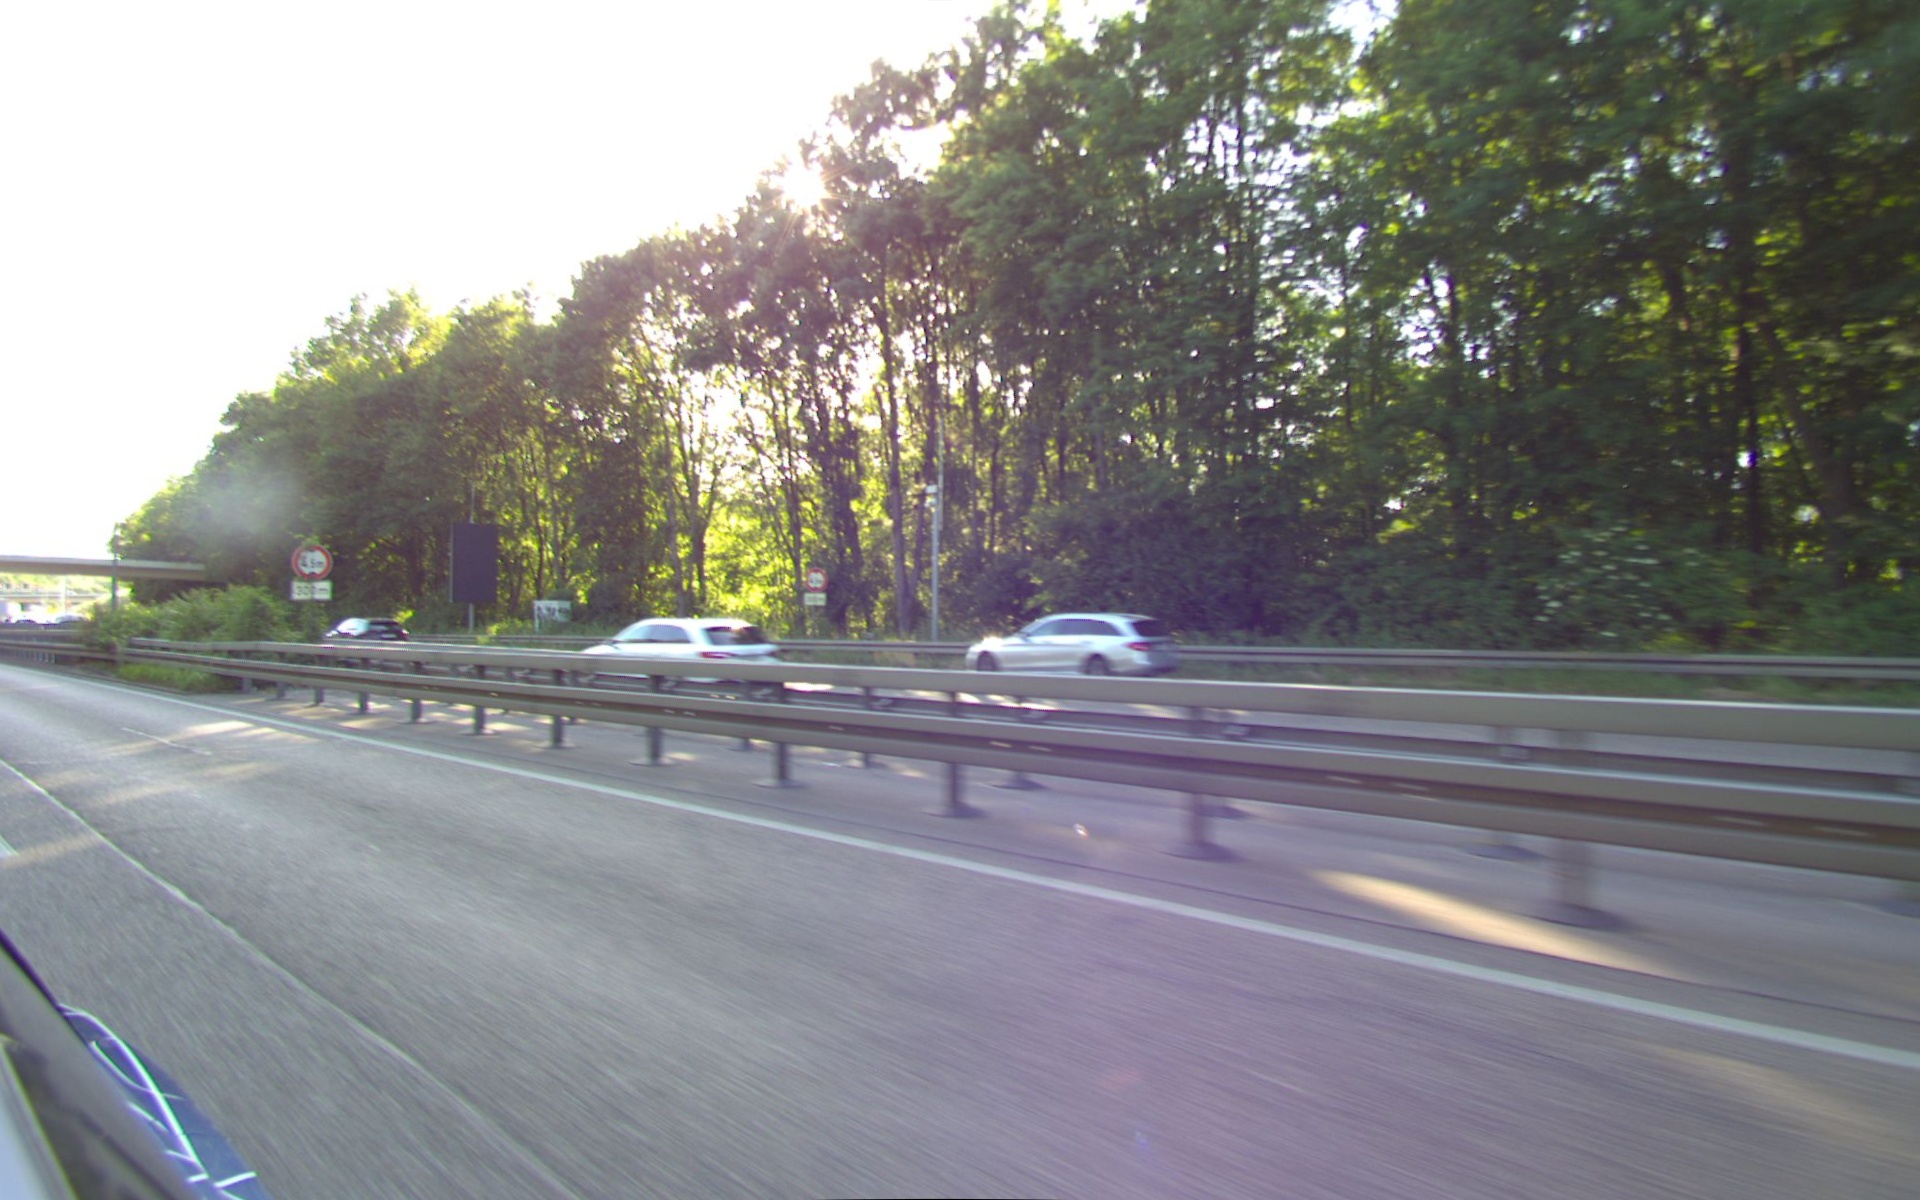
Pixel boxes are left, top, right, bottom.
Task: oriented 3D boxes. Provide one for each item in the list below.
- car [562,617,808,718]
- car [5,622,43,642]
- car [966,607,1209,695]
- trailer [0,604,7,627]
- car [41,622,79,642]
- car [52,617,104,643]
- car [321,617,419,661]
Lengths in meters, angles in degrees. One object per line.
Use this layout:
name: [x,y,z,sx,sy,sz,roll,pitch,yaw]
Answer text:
car: [-5.034,1.123,18.189,4.705,1.572,1.973,-1,-2,41]
car: [-72.689,2.498,78.568,4.394,1.500,1.712,-1,-2,41]
car: [2.545,0.999,20.924,4.705,1.612,1.973,-1,-2,41]
trailer: [-141.153,2.206,147.086,11.913,3.192,2.898,-1,-3,42]
car: [-80.548,2.841,90.519,4.371,1.763,1.973,-1,-3,41]
car: [-51.931,1.767,59.583,3.941,1.508,1.732,-1,-2,41]
car: [-22.559,1.465,38.649,4.116,1.551,1.973,-1,-2,41]
